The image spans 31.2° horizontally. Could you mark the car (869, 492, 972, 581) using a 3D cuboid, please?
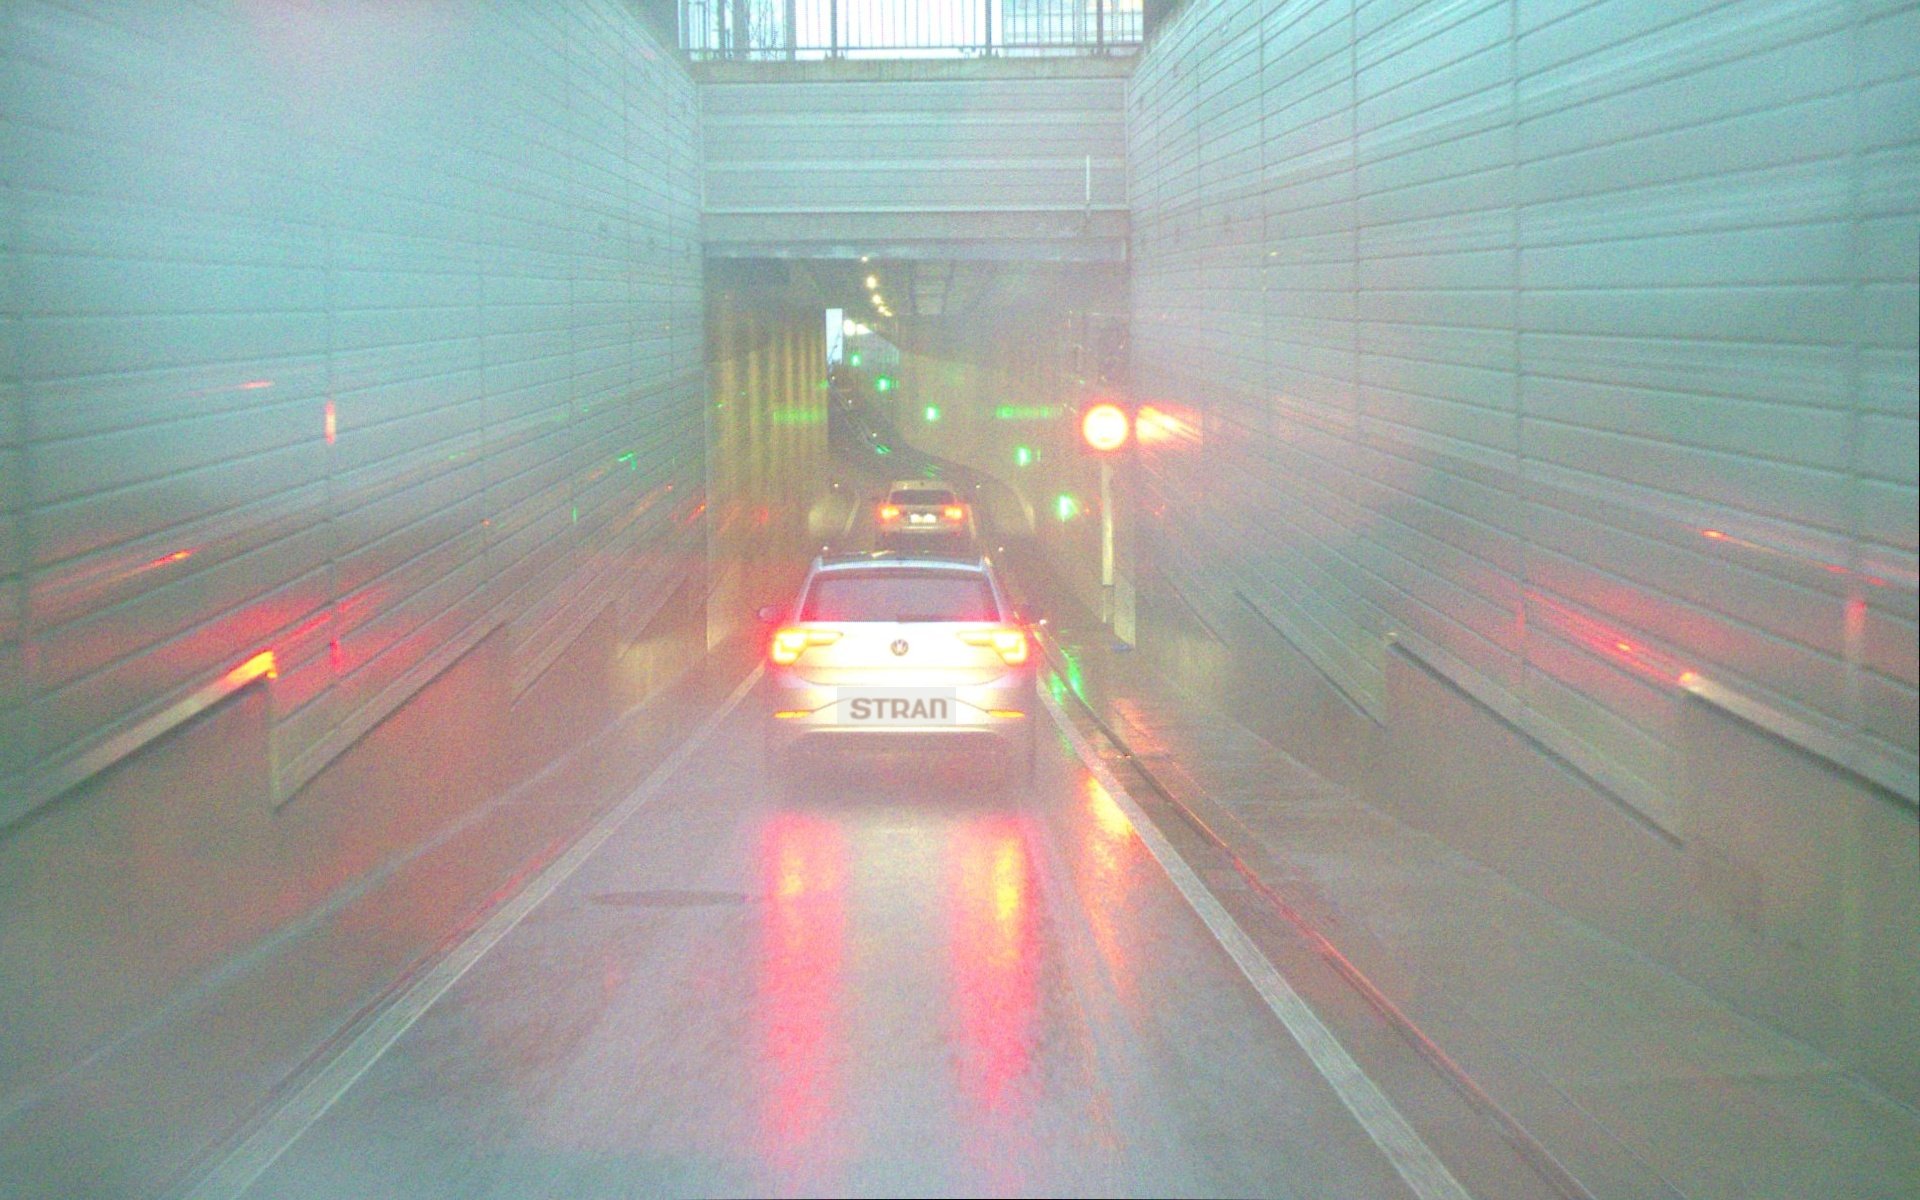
[{"bbox_3d":[-0.818,-1.292,68.798,1.919,1.480,4.001,2,4,-2],"label":"car"}]

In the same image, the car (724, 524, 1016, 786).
[{"bbox_3d":[-0.522,0.289,22.861,1.722,1.474,4.000,2,2,1],"label":"car"}]
